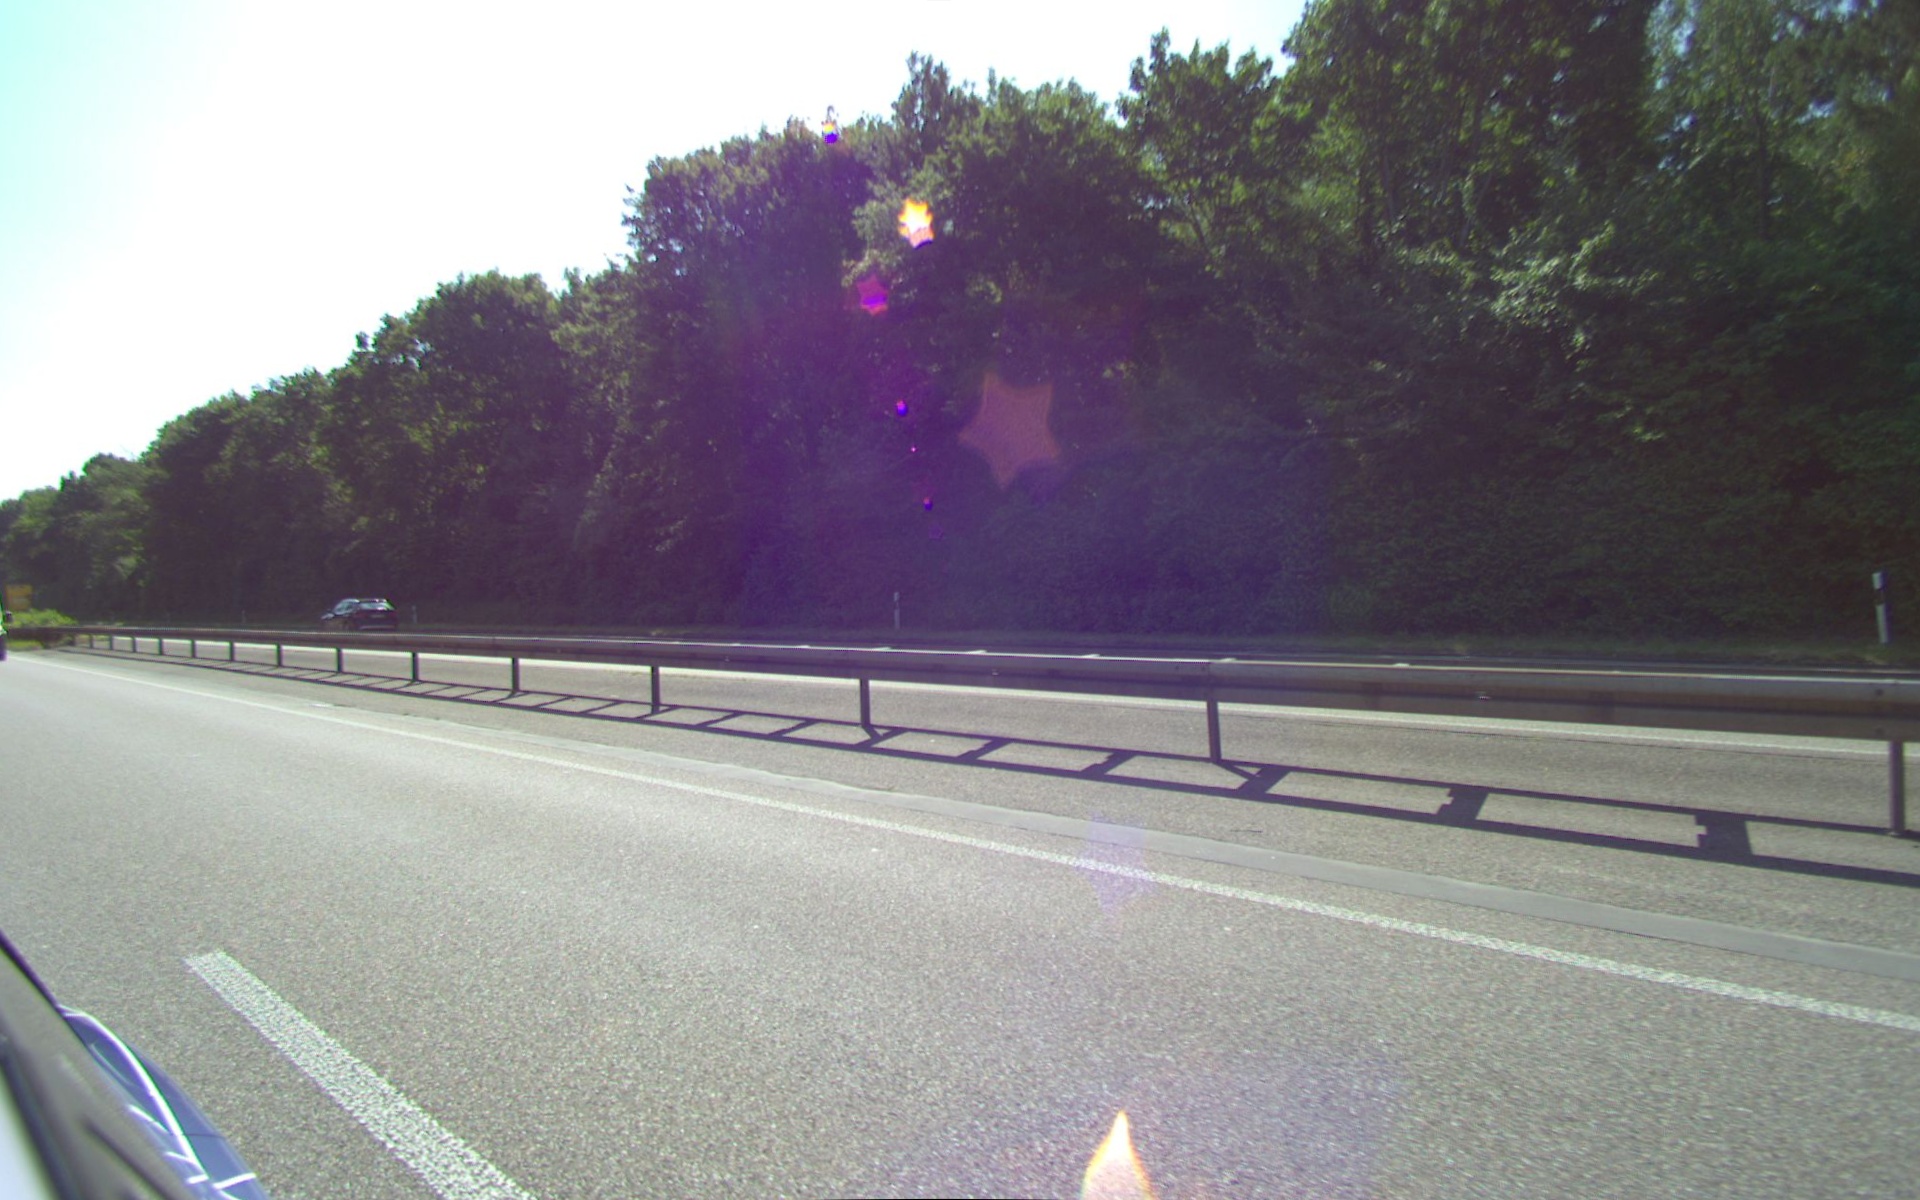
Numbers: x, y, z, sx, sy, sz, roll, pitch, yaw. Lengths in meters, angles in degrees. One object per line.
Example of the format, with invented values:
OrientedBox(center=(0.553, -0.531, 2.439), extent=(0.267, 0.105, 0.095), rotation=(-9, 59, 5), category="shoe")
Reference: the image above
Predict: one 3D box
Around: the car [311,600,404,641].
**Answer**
OrientedBox(center=(-24.414, 0.812, 40.926), extent=(4.547, 1.521, 1.824), rotation=(-1, 0, 40), category="car")

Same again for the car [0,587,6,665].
OrientedBox(center=(-32.755, 0.862, 32.916), extent=(4.635, 2.462, 2.020), rotation=(-1, 0, 41), category="car")
